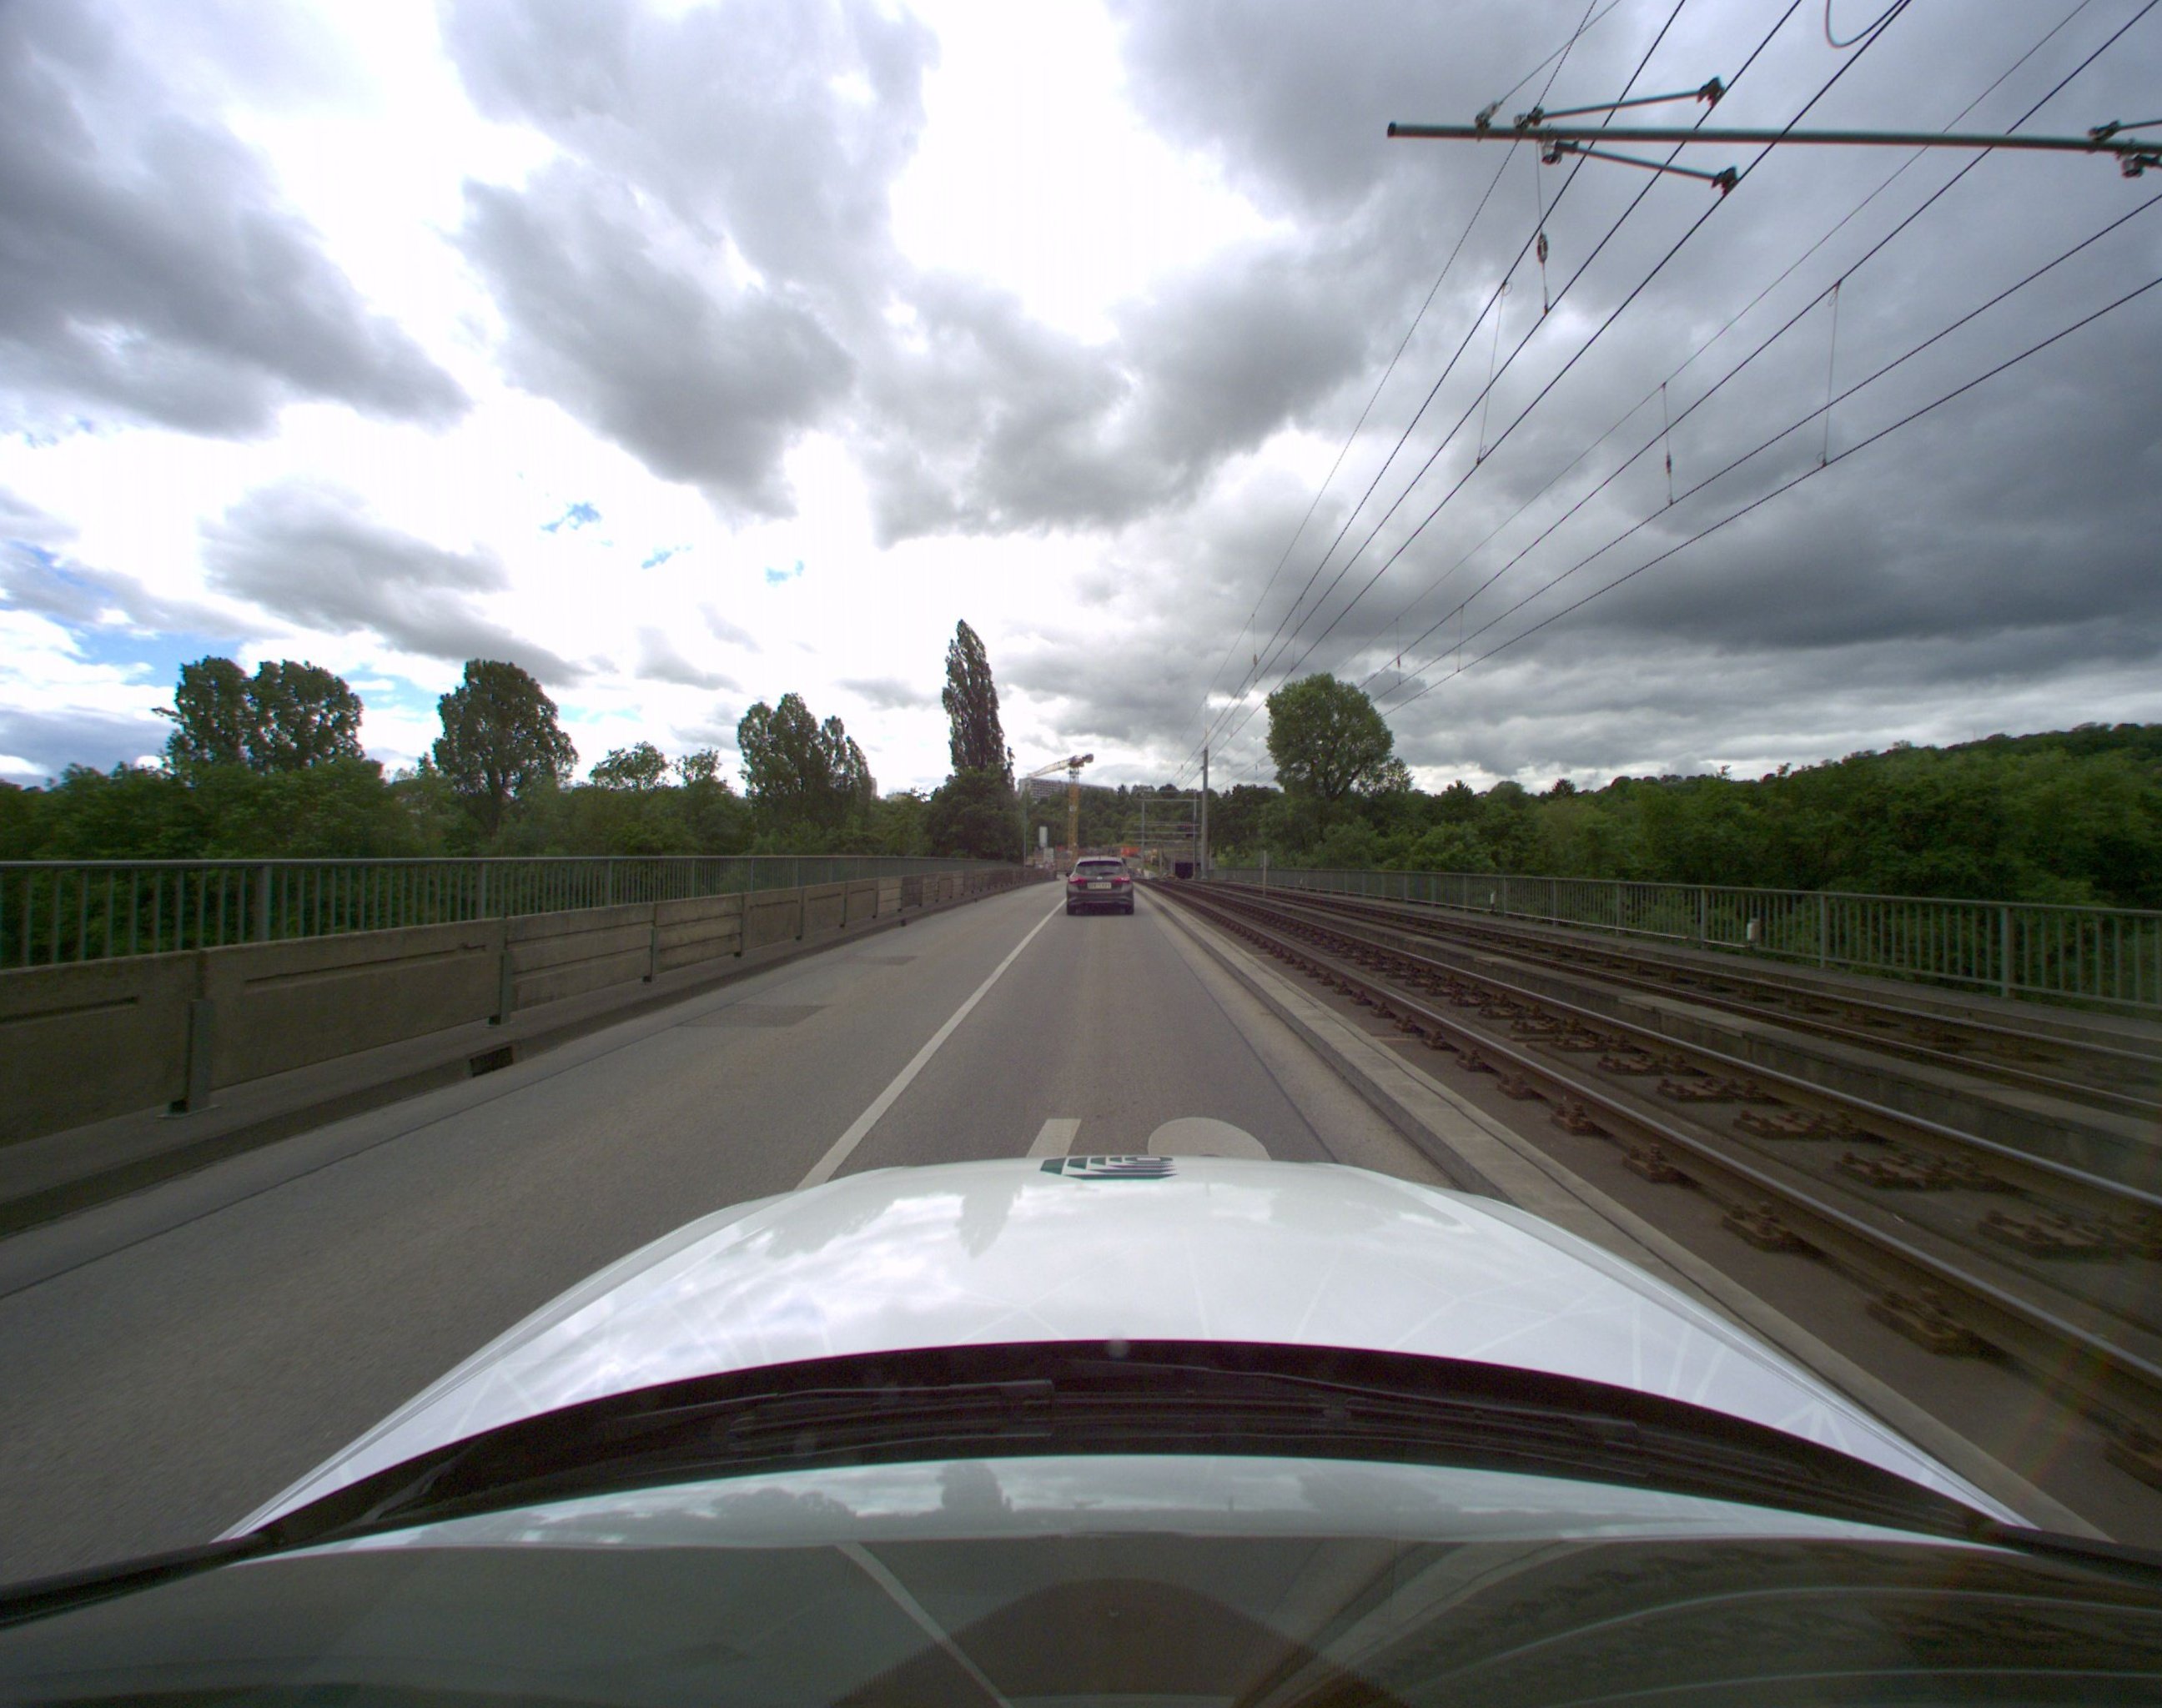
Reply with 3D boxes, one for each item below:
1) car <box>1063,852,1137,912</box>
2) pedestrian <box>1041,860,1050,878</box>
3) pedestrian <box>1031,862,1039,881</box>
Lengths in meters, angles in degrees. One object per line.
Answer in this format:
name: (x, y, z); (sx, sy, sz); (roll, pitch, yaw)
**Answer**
car: (0.438, 0.754, 22.591); (1.825, 1.510, 3.996); (0, -1, -2)
pedestrian: (-3.300, 1.397, 76.086); (0.718, 1.701, 0.723); (0, -1, 1)
pedestrian: (-4.324, 1.667, 77.059); (0.718, 1.840, 0.723); (0, -1, 1)
